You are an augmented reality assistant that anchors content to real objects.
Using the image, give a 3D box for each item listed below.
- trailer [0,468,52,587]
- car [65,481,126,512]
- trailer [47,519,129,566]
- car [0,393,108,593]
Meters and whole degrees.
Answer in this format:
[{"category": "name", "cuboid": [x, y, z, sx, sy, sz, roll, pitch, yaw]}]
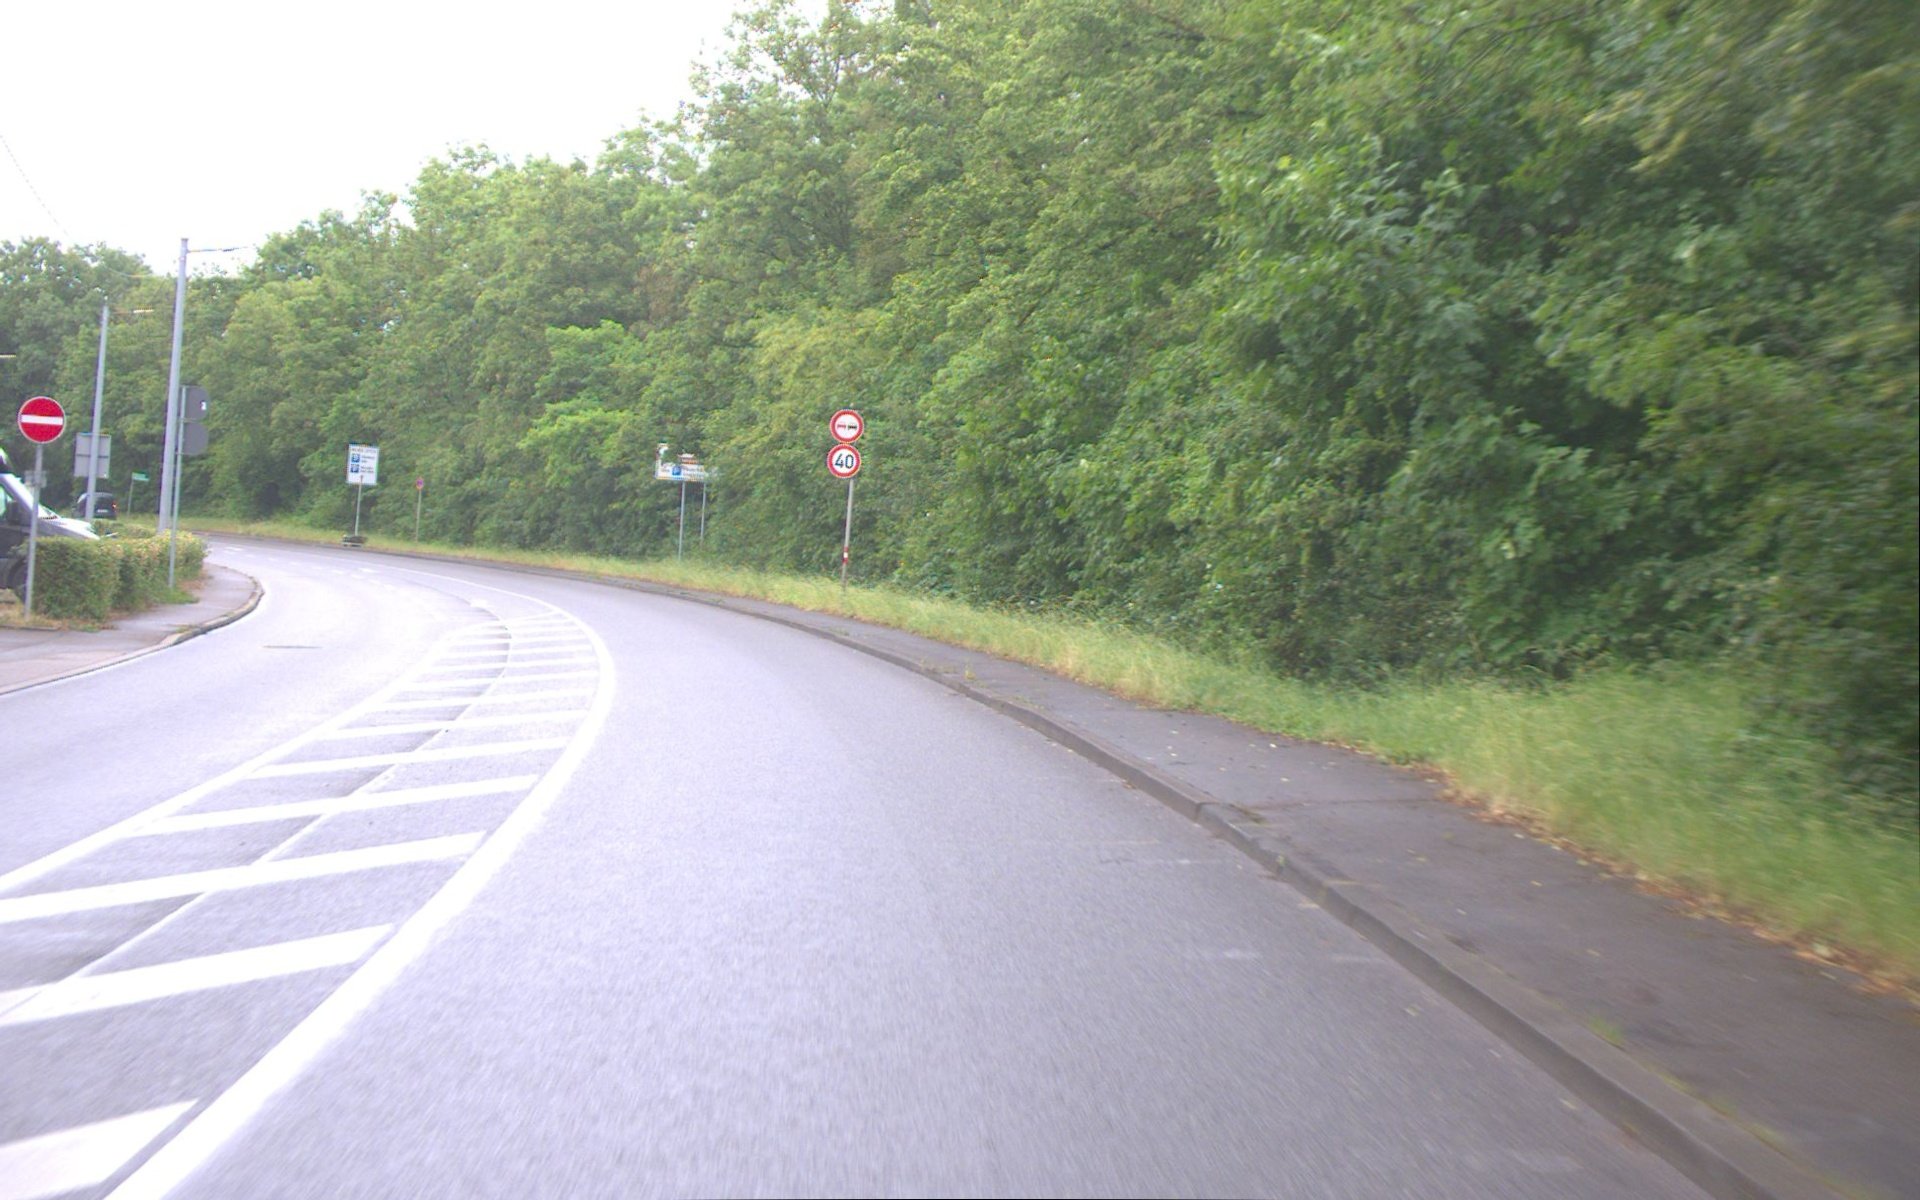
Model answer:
[{"category": "trailer", "cuboid": [-18.159, -1.326, 60.528, 3.986, 2.046, 1.873, 1, 1, -9]}, {"category": "car", "cuboid": [-45.536, -5.437, 181.016, 1.935, 1.493, 4.319, 1, 2, -30]}, {"category": "trailer", "cuboid": [-20.568, -1.352, 81.099, 1.800, 1.031, 1.334, 2, 1, -16]}, {"category": "car", "cuboid": [-16.990, -1.784, 55.195, 6.270, 3.103, 2.753, 2, 0, -12]}]
